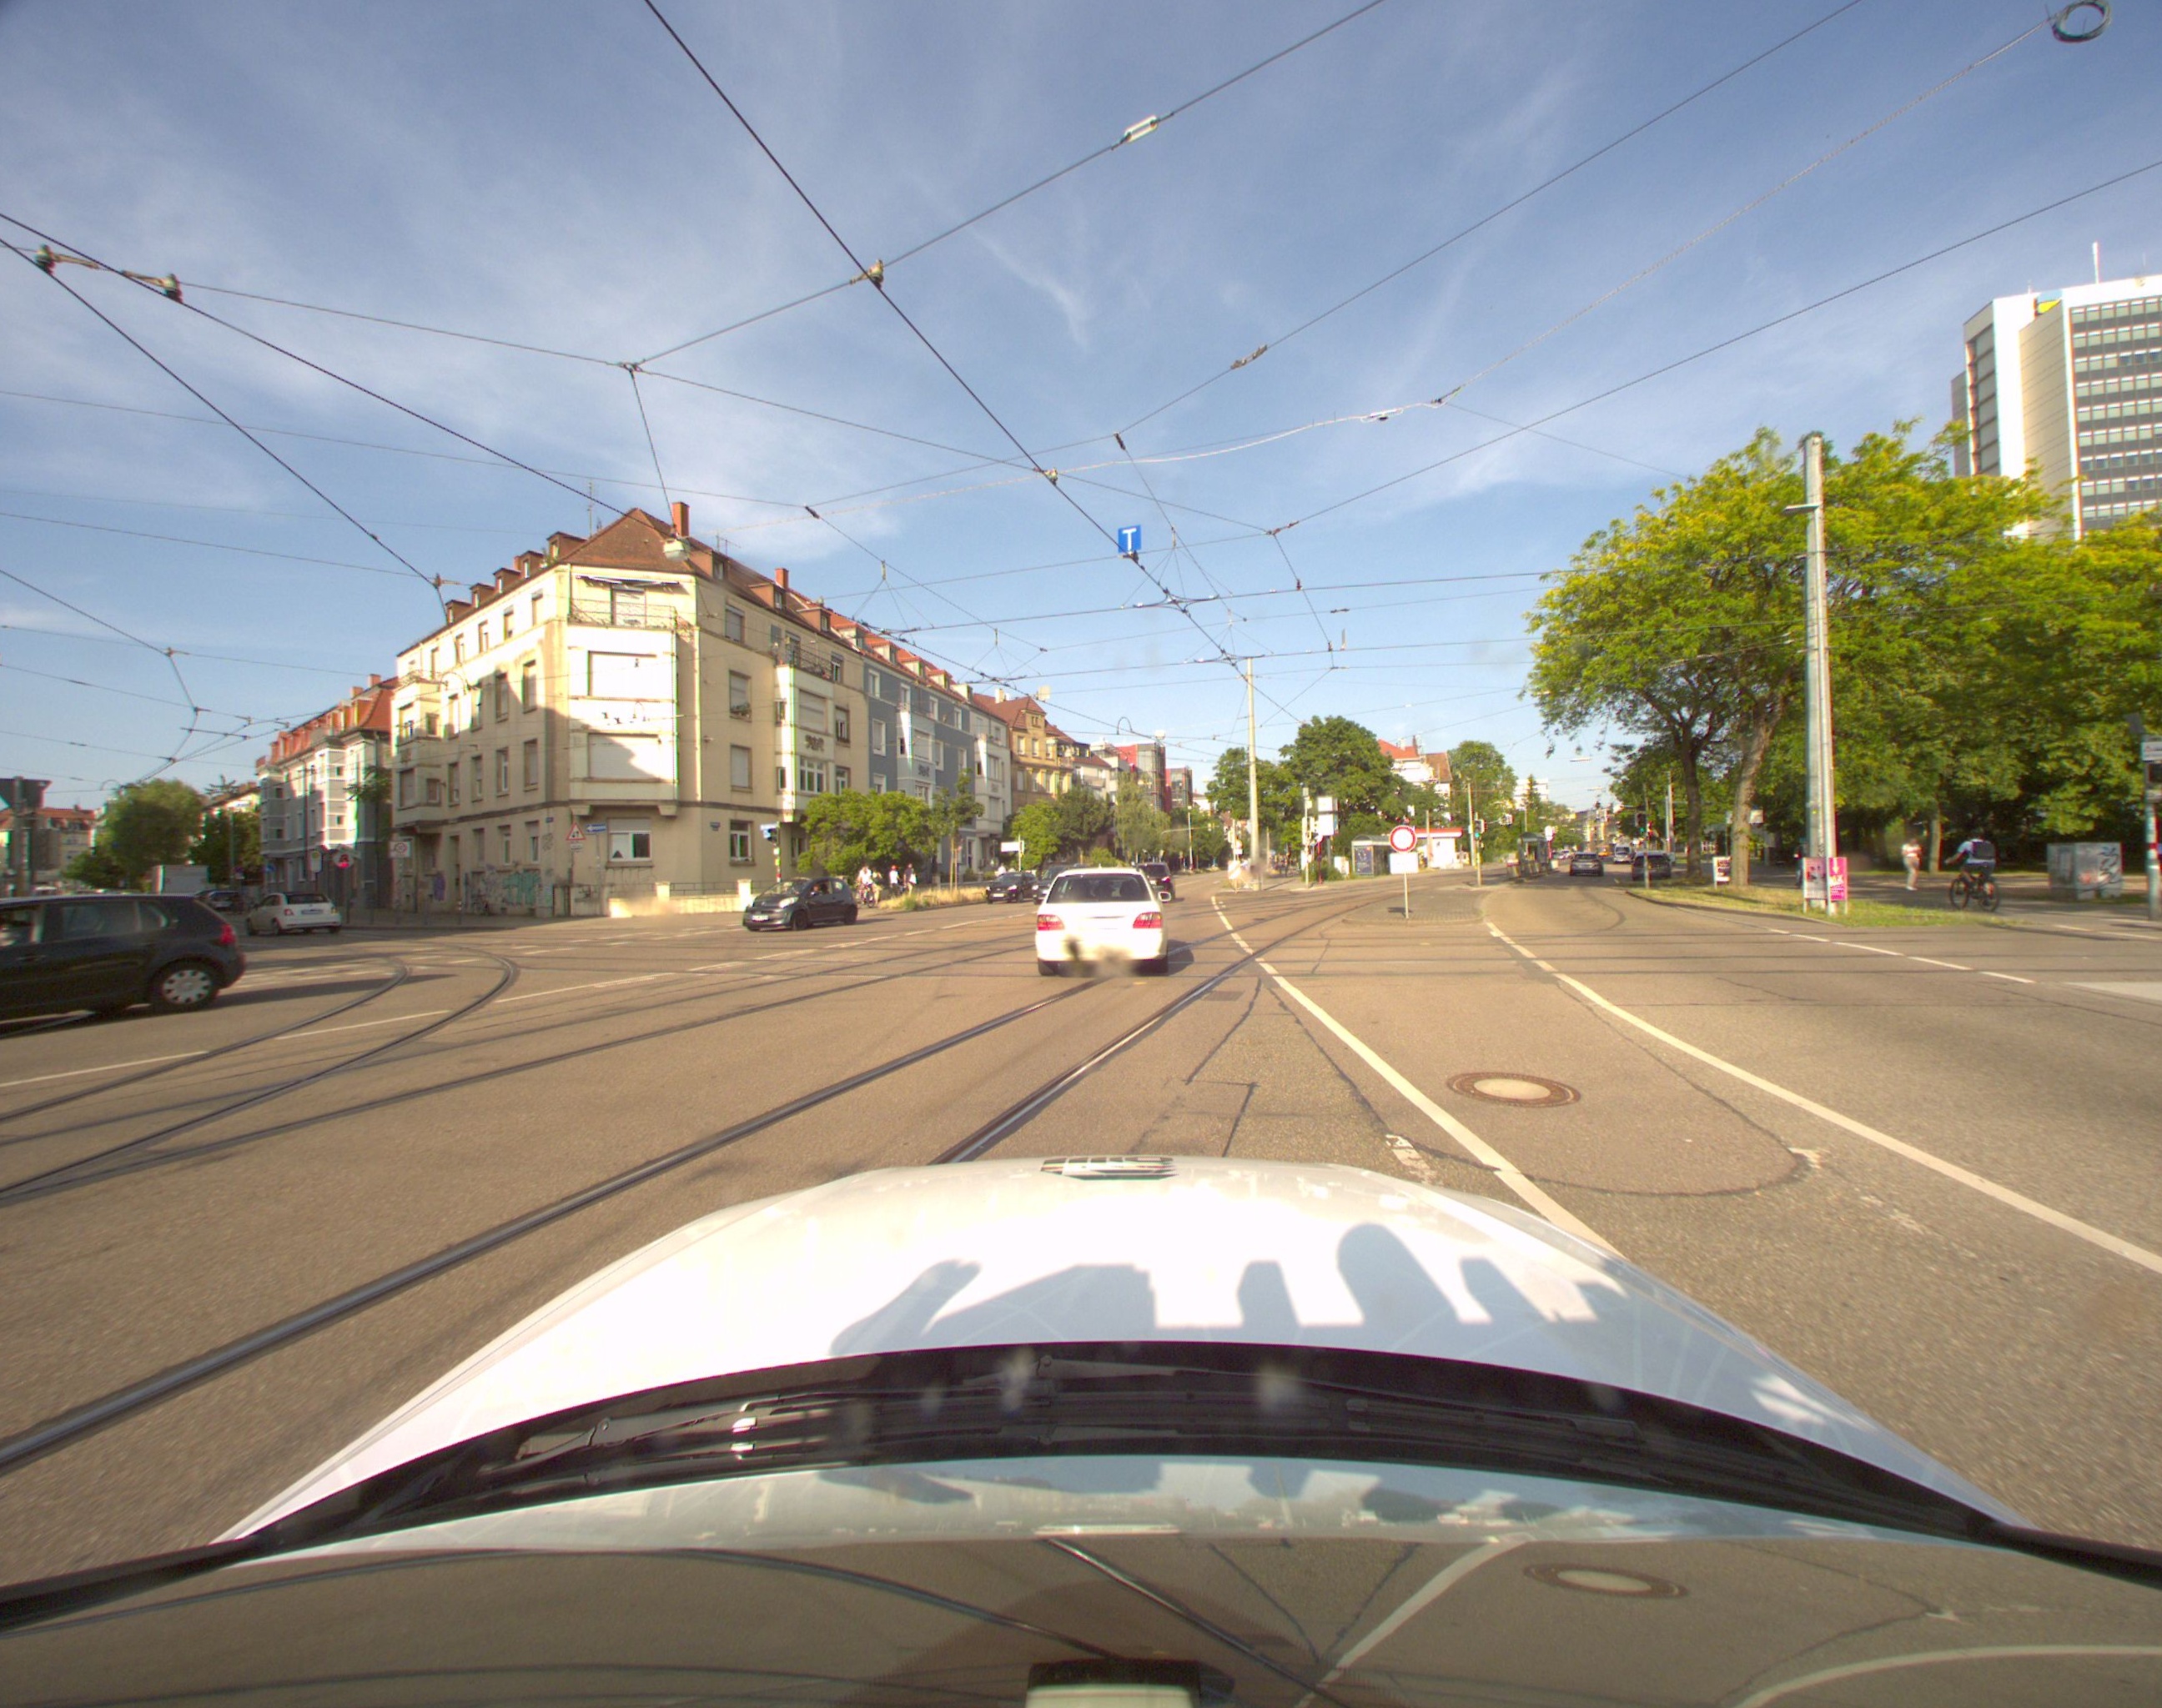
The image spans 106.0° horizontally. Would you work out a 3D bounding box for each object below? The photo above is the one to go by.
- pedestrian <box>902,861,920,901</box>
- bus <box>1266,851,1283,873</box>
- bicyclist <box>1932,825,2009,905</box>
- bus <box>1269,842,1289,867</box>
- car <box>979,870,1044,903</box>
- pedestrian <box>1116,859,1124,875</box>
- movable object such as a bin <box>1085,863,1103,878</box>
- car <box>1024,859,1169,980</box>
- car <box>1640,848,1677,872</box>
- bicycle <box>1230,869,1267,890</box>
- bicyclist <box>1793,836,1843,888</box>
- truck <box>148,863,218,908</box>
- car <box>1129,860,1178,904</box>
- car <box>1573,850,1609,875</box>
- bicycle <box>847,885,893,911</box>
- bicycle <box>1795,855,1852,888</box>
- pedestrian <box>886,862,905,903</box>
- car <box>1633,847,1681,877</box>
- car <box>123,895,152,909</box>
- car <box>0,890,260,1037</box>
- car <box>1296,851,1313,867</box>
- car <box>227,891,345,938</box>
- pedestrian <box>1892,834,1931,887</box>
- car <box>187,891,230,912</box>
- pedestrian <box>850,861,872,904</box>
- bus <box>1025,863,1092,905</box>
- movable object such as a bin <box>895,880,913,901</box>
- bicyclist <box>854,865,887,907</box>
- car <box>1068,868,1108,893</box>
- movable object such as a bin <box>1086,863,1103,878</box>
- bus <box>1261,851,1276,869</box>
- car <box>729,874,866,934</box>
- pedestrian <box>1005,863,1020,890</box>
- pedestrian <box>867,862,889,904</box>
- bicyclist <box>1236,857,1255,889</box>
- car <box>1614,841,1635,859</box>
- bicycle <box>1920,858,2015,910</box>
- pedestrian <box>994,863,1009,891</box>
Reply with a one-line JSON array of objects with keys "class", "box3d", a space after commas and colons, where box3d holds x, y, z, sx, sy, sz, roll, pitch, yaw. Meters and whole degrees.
[{"class": "pedestrian", "box3d": [-8.049, 1.281, 38.523, 0.580, 1.881, 0.629, -2, -1, 14]}, {"class": "bus", "box3d": [23.289, 0.975, 98.089, 1.786, 2.555, 4.012, 1, -1, 11]}, {"class": "bicyclist", "box3d": [20.293, 0.250, 18.604, 0.643, 1.746, 1.146, -5, -2, 23]}, {"class": "bus", "box3d": [20.277, 0.084, 83.393, 1.786, 2.413, 4.011, 1, -1, 11]}, {"class": "car", "box3d": [-3.197, 1.482, 38.138, 1.676, 1.420, 4.016, -2, -1, 16]}, {"class": "pedestrian", "box3d": [4.144, 1.378, 86.496, 0.634, 1.751, 0.610, -2, -1, 12]}, {"class": "movable object such as a bin", "box3d": [1.268, 1.552, 77.887, 1.596, 1.421, 1.085, -2, -1, 2]}, {"class": "car", "box3d": [0.356, 0.835, 12.132, 1.827, 1.501, 3.820, 0, -1, 5]}, {"class": "car", "box3d": [40.325, 0.389, 56.825, 1.835, 1.515, 4.025, -4, -2, 38]}, {"class": "bicycle", "box3d": [9.174, 1.385, 44.571, 1.902, 0.994, 0.728, -4, -1, 9]}, {"class": "bicyclist", "box3d": [25.972, 0.272, 28.707, 0.715, 1.746, 1.144, -5, -2, 13]}, {"class": "truck", "box3d": [-79.599, 2.784, 72.138, 9.795, 3.728, 3.277, -2, -1, 37]}, {"class": "car", "box3d": [2.910, 1.059, 32.202, 1.632, 1.600, 3.825, 0, -1, 9]}, {"class": "car", "box3d": [34.270, 0.545, 54.653, 1.817, 1.600, 3.839, 0, -1, 36]}, {"class": "bicycle", "box3d": [-8.572, 1.776, 33.201, 0.762, 0.965, 2.044, -2, -1, 19]}, {"class": "bicycle", "box3d": [25.946, 0.594, 28.502, 0.636, 1.088, 1.740, -4, -1, 13]}, {"class": "pedestrian", "box3d": [-8.785, 1.346, 38.577, 0.580, 1.881, 0.629, -2, -1, 13]}, {"class": "car", "box3d": [31.854, 0.413, 44.968, 1.835, 1.515, 4.025, -4, -2, 39]}, {"class": "car", "box3d": [-104.561, 5.302, 90.256, 3.948, 1.457, 1.811, -2, -1, 36]}, {"class": "car", "box3d": [-11.965, 1.199, 8.761, 1.753, 1.433, 4.018, -2, -1, 17]}, {"class": "car", "box3d": [26.096, 0.592, 94.942, 1.732, 1.874, 4.017, -2, -1, 16]}, {"class": "car", "box3d": [-27.825, 2.093, 28.494, 3.949, 1.457, 1.811, -2, -1, 28]}, {"class": "pedestrian", "box3d": [26.629, 0.221, 26.116, 0.635, 1.665, 0.694, -2, -1, 25]}, {"class": "car", "box3d": [-65.848, 3.589, 61.428, 3.948, 1.457, 1.811, -2, -1, 37]}, {"class": "pedestrian", "box3d": [-9.889, 1.285, 36.622, 0.654, 1.881, 0.629, -2, -1, 13]}, {"class": "bus", "box3d": [-0.897, 1.255, 34.967, 1.831, 1.636, 4.174, -2, -1, 13]}, {"class": "movable object such as a bin", "box3d": [-8.551, 1.763, 39.345, 0.578, 0.947, 0.666, -2, -1, 19]}, {"class": "bicyclist", "box3d": [-8.578, 1.280, 33.205, 0.754, 1.668, 1.173, -2, -1, 18]}, {"class": "car", "box3d": [0.492, 1.640, 51.645, 1.677, 1.441, 4.014, -2, 0, 13]}, {"class": "movable object such as a bin", "box3d": [1.298, 1.583, 79.003, 1.527, 1.421, 1.085, -2, -1, 2]}, {"class": "bus", "box3d": [26.251, 0.858, 114.127, 1.786, 2.333, 4.011, 1, -1, 10]}, {"class": "car", "box3d": [-7.739, 1.322, 22.564, 1.620, 1.433, 3.646, -2, -1, 20]}, {"class": "pedestrian", "box3d": [-4.425, 1.449, 52.700, 0.634, 1.751, 0.914, -2, -1, 12]}, {"class": "pedestrian", "box3d": [-9.136, 1.311, 36.656, 0.669, 1.848, 0.652, -2, -1, 17]}, {"class": "bicyclist", "box3d": [9.006, 1.034, 44.599, 0.894, 1.699, 0.734, -3, -1, 9]}, {"class": "car", "box3d": [66.296, -0.501, 99.308, 1.974, 2.014, 4.025, 0, -2, 35]}, {"class": "bicycle", "box3d": [20.428, 0.666, 18.820, 0.635, 1.088, 1.950, -4, -2, 22]}, {"class": "pedestrian", "box3d": [-5.153, 1.476, 52.852, 0.634, 1.751, 0.914, -2, -1, 12]}]
